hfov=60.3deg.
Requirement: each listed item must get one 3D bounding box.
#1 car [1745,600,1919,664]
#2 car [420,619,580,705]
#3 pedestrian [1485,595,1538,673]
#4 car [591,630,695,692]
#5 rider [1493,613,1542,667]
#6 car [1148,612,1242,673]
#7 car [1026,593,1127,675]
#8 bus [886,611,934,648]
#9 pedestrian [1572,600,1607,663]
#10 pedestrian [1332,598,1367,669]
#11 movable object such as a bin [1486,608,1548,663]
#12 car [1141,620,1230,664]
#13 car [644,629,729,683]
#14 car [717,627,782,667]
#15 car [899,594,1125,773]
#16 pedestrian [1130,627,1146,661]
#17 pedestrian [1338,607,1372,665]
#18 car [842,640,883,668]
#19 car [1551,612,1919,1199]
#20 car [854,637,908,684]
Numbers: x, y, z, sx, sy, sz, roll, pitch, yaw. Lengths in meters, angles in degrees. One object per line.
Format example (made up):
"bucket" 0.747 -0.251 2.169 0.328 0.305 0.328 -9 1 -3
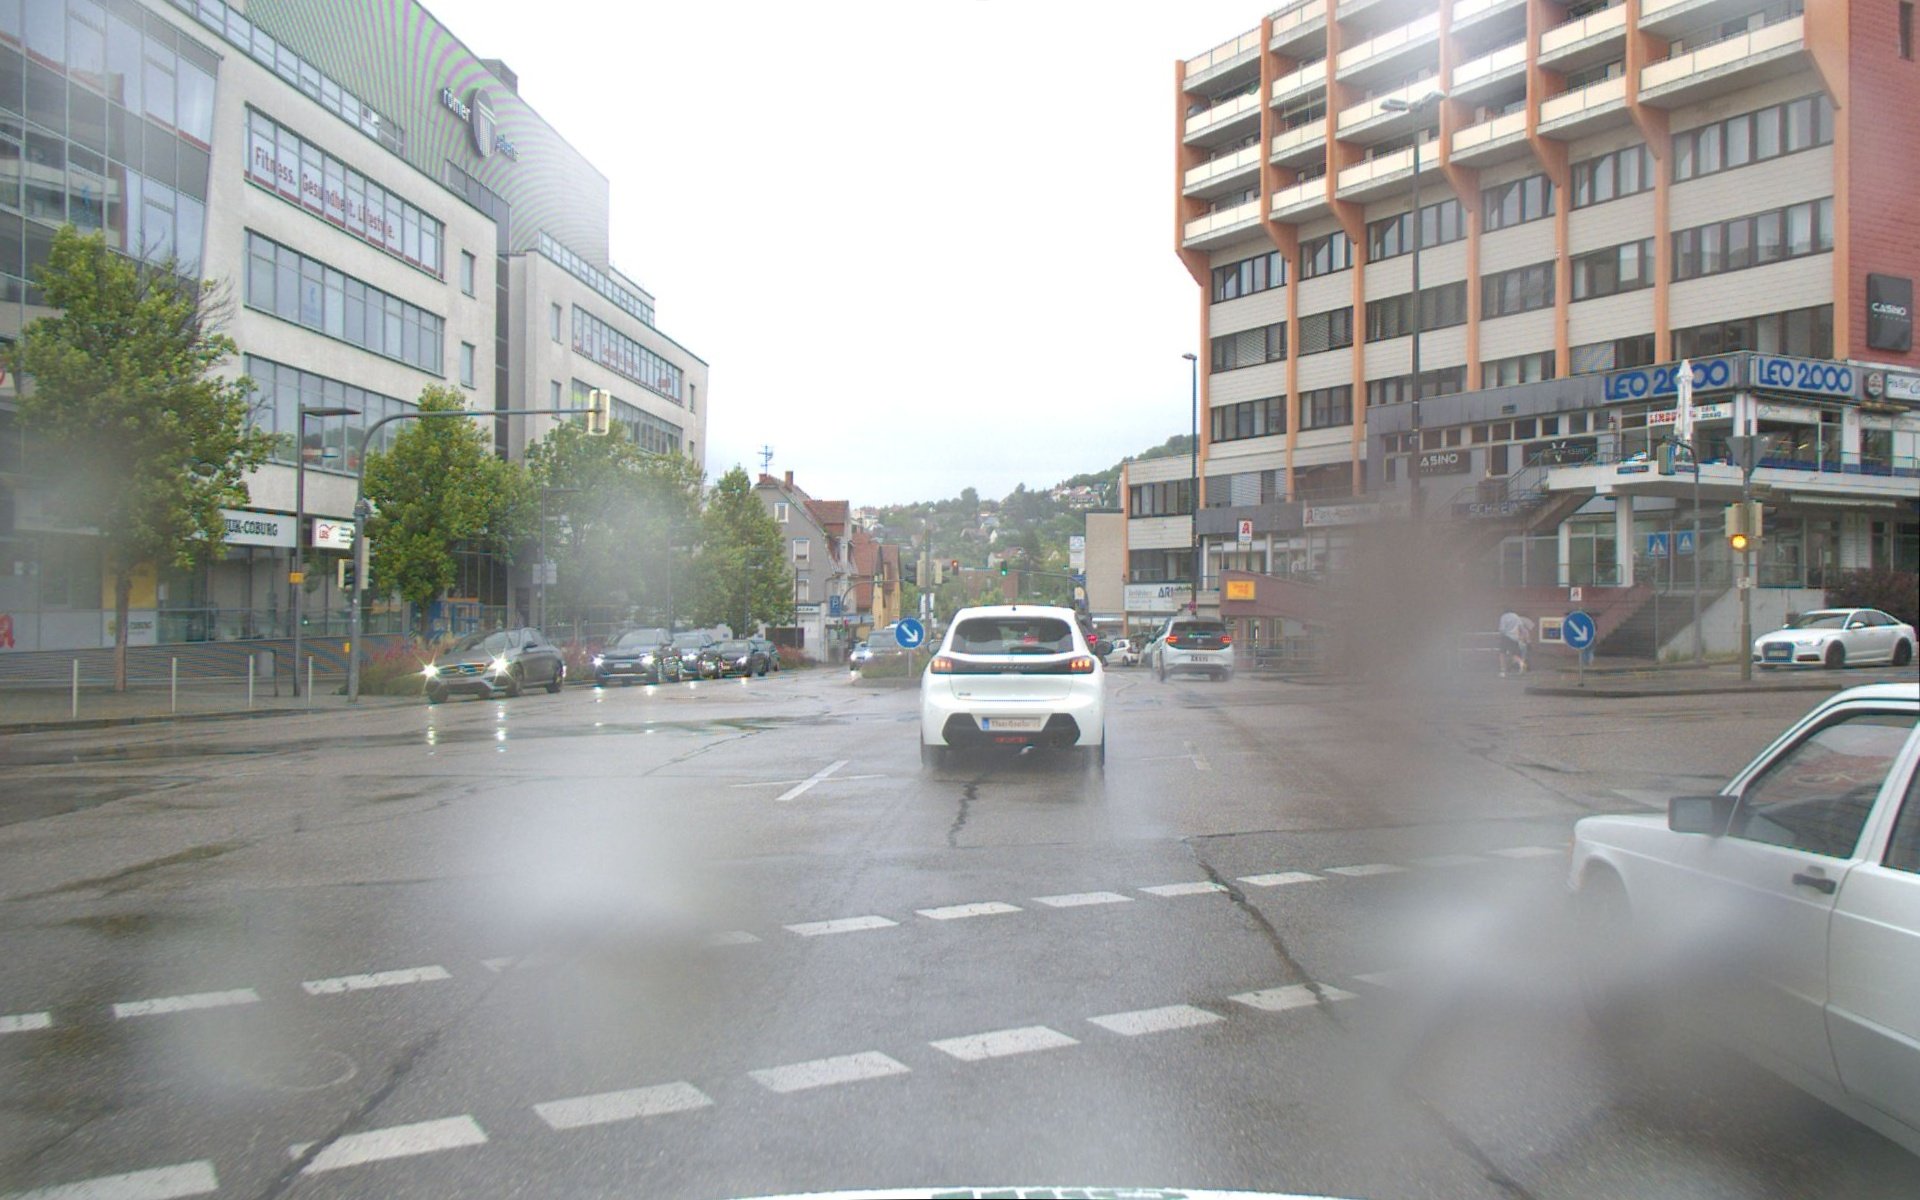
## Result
"car" 21.260 0.767 40.216 4.733 1.431 1.791 0 -2 -35
"car" -9.714 1.253 35.350 1.880 1.660 4.904 0 0 2
"pedestrian" 12.395 0.752 37.186 0.811 1.720 1.129 0 -1 0
"car" -9.324 1.766 48.975 1.836 1.622 4.526 -4 -1 4
"rider" 14.500 1.037 43.048 0.903 1.307 1.091 -3 0 3
"car" 5.672 1.003 40.247 1.872 1.425 3.458 0 -1 1
"car" 2.505 0.719 34.790 1.777 1.556 3.815 -3 -1 8
"bus" -3.946 2.322 132.154 2.877 2.832 9.508 -1 -1 4
"pedestrian" 17.309 0.854 45.506 0.777 1.698 0.932 0 -1 13
"pedestrian" 9.137 0.784 38.847 0.692 1.635 0.656 -2 -2 7
"movable object such as a bin" 14.489 0.936 43.076 1.106 1.355 1.455 -3 -3 3
"car" 11.973 2.227 88.190 1.975 2.265 4.919 0 -1 -33
"car" -9.239 1.874 56.180 1.737 1.622 4.590 -4 -1 4
"car" -7.924 1.764 62.542 1.690 1.412 4.601 -1 -1 2
"car" 0.632 0.722 16.075 1.832 1.488 3.876 1 0 7
"pedestrian" 9.917 2.437 92.104 0.633 1.854 0.577 0 -1 -30
"pedestrian" 9.453 0.864 39.571 0.692 1.369 0.656 -1 -1 6
"car" -5.130 2.843 87.463 1.690 1.412 4.456 -1 -1 2
"car" 3.110 0.799 4.359 1.600 1.473 4.269 2 0 1
"car" -3.308 2.591 70.223 1.953 1.855 4.298 -3 -3 1
